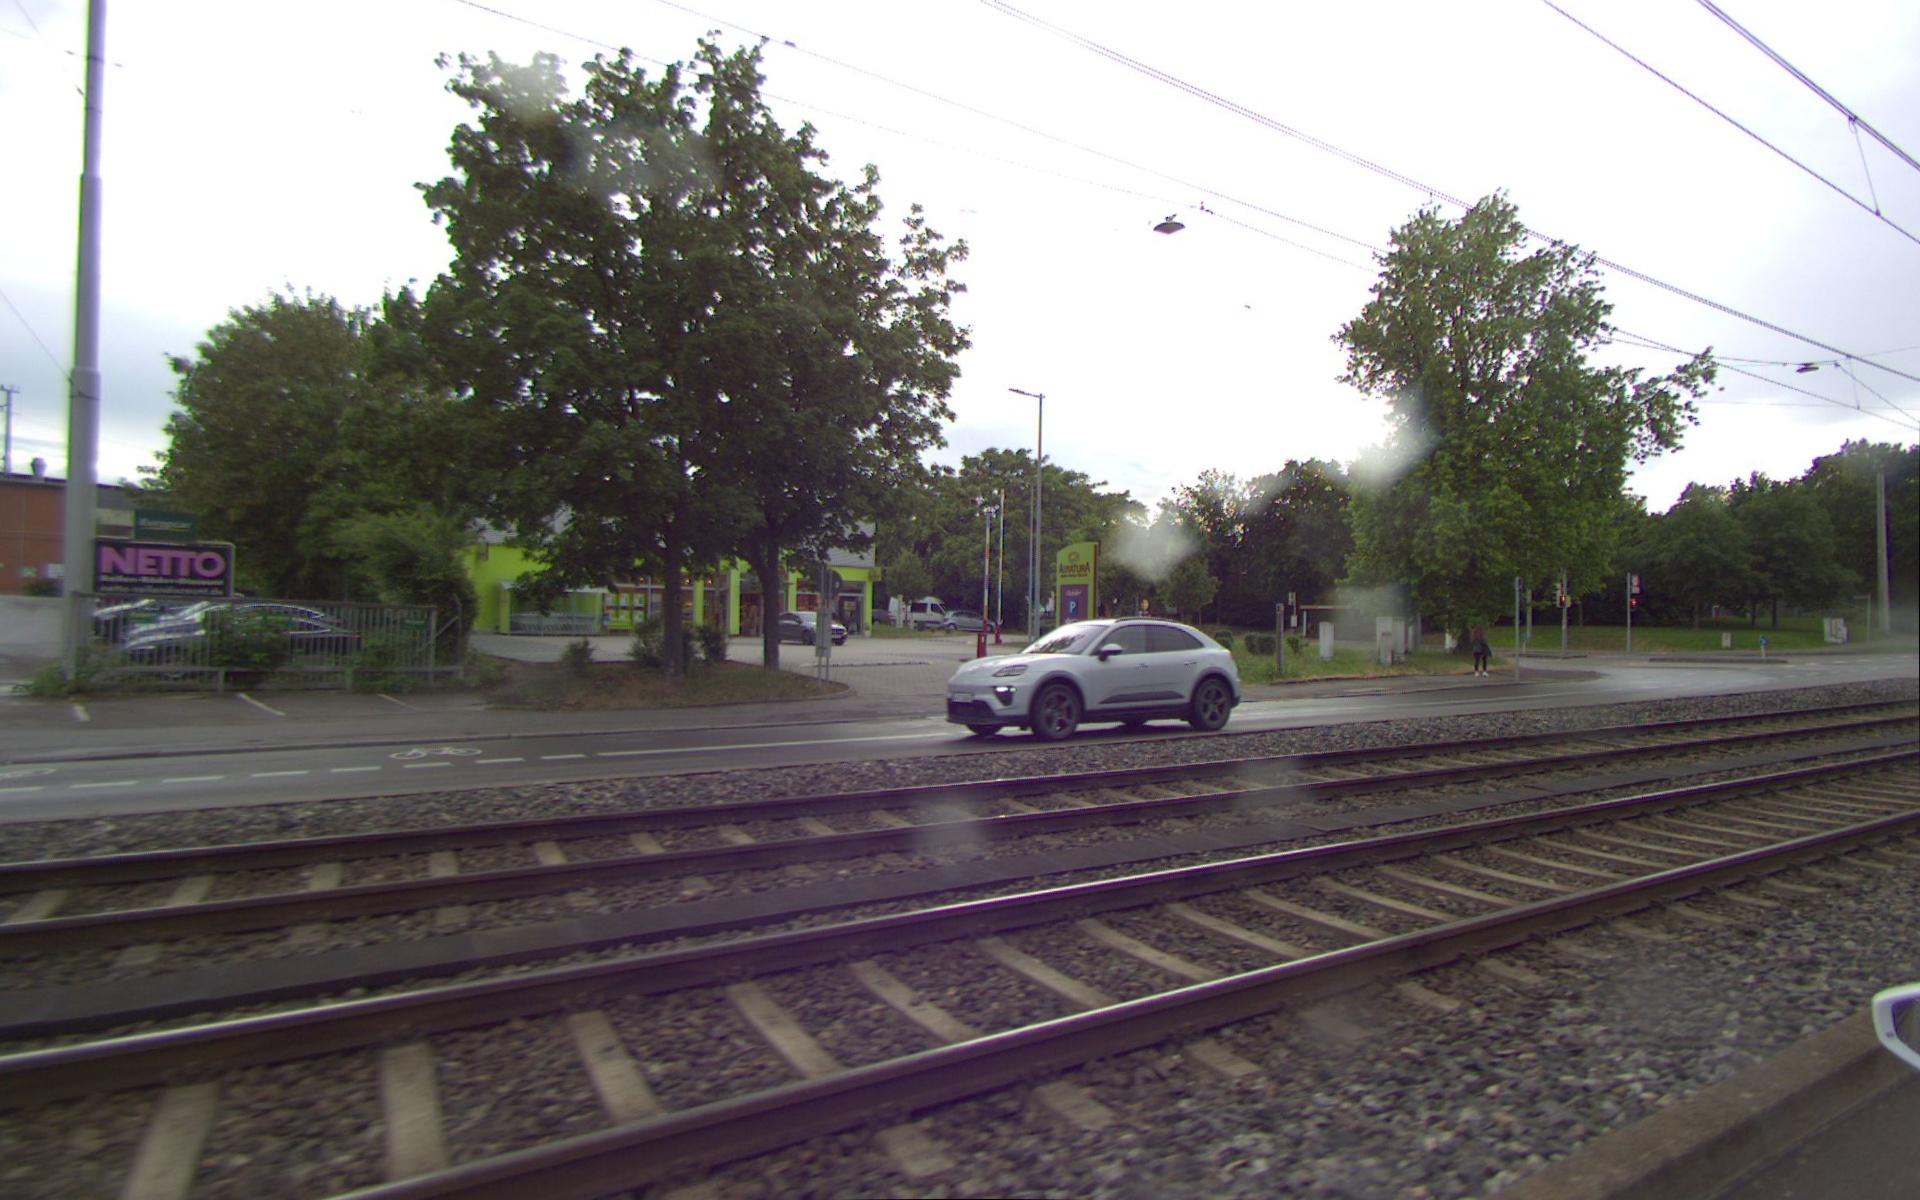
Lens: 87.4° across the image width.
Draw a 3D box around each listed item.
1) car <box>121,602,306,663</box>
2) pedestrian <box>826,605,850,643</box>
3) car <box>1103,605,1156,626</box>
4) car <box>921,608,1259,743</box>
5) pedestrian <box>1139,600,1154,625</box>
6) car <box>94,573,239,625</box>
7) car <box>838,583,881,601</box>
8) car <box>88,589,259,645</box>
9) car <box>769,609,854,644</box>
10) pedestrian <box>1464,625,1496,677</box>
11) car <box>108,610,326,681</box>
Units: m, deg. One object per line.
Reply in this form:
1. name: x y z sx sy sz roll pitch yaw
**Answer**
1. car: -20.684 0.923 27.952 3.967 1.475 1.672 4 -1 -39
2. pedestrian: -5.484 1.078 45.064 0.750 1.618 0.797 3 -1 -30
3. car: 16.380 1.441 97.471 1.981 1.829 5.095 3 -1 -36
4. car: 1.950 1.038 14.634 4.706 1.671 1.984 2 -3 -32
5. pedestrian: 12.210 0.811 65.740 0.598 1.623 0.673 3 -1 -24
6. car: -28.554 -0.031 36.274 3.967 1.639 1.672 4 -1 -39
7. car: -8.737 -0.671 87.310 3.663 1.502 1.582 0 -1 -4
8. car: -24.041 0.538 30.841 3.967 1.475 1.672 4 -1 -39
9. car: -6.462 1.124 43.439 1.760 1.363 4.331 2 -1 -37
10. pedestrian: 16.007 1.568 30.924 0.661 1.552 0.588 3 -1 -31
11. car: -17.383 1.091 23.649 3.967 1.475 1.672 4 -1 -39
